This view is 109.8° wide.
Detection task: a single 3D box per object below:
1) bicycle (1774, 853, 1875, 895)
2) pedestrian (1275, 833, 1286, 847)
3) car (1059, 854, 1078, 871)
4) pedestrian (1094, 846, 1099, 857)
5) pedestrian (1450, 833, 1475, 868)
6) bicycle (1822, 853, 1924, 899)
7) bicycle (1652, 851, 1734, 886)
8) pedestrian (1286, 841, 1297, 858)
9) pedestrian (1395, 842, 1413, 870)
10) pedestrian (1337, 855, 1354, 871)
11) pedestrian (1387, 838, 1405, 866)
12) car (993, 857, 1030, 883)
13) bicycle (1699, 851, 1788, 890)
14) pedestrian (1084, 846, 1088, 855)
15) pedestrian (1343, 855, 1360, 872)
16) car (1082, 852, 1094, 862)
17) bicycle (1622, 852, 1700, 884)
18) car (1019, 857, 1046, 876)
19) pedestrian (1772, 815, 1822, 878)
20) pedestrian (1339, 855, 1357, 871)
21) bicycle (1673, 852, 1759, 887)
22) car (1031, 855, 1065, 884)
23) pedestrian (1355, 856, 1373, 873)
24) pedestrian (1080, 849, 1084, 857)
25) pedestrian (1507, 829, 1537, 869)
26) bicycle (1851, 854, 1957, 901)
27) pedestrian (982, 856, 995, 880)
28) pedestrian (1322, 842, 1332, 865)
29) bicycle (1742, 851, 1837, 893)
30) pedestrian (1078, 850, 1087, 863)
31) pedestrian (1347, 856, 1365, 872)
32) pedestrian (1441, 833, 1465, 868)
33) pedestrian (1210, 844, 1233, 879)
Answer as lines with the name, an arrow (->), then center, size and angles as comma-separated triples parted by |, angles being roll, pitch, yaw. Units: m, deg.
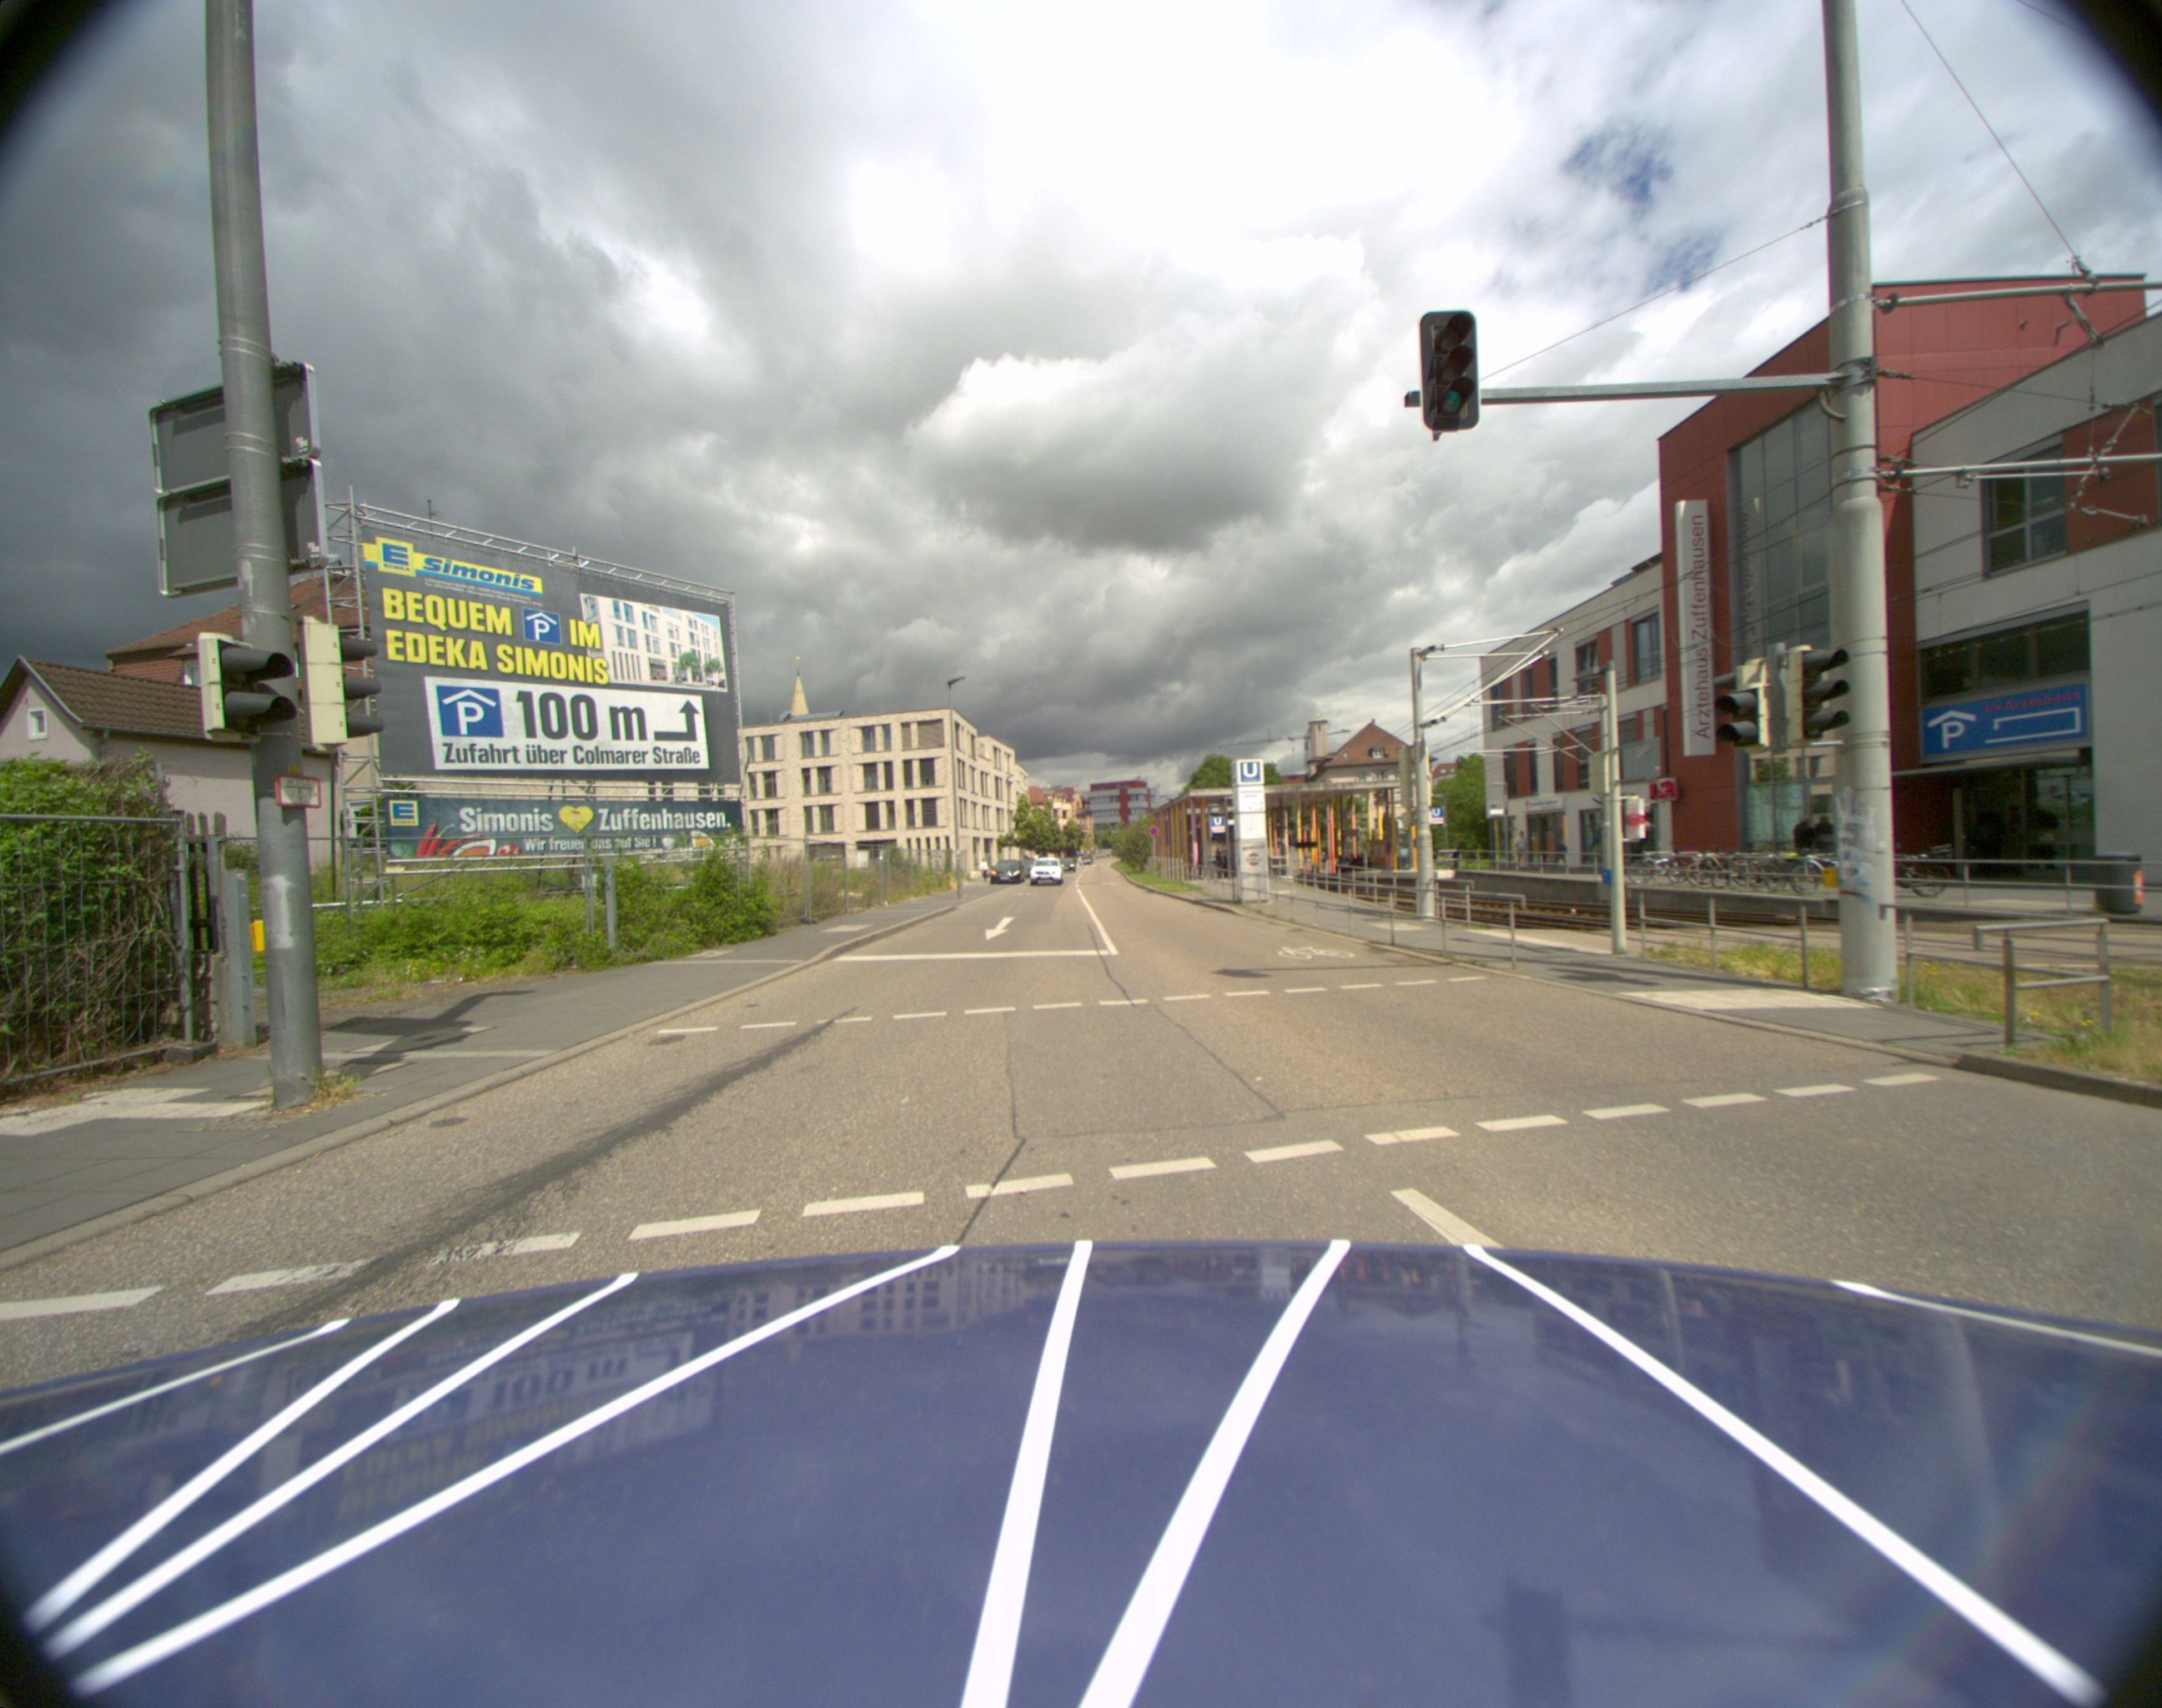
bicycle -> 17.636, 0.473, 18.041 | 1.862, 0.930, 0.454 | -2, 1, 3
pedestrian -> 29.663, -2.043, 112.977 | 1.451, 2.002, 1.968 | 0, 1, 19
car -> -1.165, 0.809, 72.302 | 1.678, 1.425, 3.794 | -2, 1, 0
pedestrian -> 2.894, -0.441, 144.341 | 0.800, 2.002, 0.810 | -1, 0, 2
pedestrian -> 21.339, -0.198, 42.517 | 0.864, 1.957, 1.105 | -1, 2, -1
bicycle -> 17.703, 0.493, 17.001 | 1.739, 0.952, 0.428 | -2, 1, 3
bicycle -> 17.582, 0.412, 21.854 | 1.861, 0.927, 0.455 | -2, 1, 9
pedestrian -> 25.175, -0.587, 90.841 | 1.127, 2.002, 1.179 | -1, 0, 6
pedestrian -> 23.240, 0.160, 54.664 | 0.863, 1.957, 1.106 | -1, 2, 6
pedestrian -> 19.254, 0.625, 55.397 | 0.943, 1.128, 0.886 | -2, 0, 2
pedestrian -> 22.660, -0.169, 54.643 | 0.863, 1.957, 1.106 | -1, 2, 6
car -> -4.169, 0.960, 46.113 | 1.677, 1.415, 3.794 | -1, 1, 3
bicycle -> 17.539, 0.433, 20.124 | 1.861, 0.934, 0.454 | -2, 1, 5
pedestrian -> 0.971, -0.643, 141.382 | 0.673, 1.503, 0.783 | -2, 0, 3
pedestrian -> 19.073, 0.672, 53.599 | 0.943, 1.128, 0.886 | -2, 0, 2
car -> 1.048, 0.433, 110.842 | 1.677, 1.299, 3.794 | -1, 1, 3
bicycle -> 17.523, 0.426, 22.981 | 1.861, 0.876, 0.455 | -2, 1, 9
car -> -3.816, 0.986, 59.957 | 1.677, 1.367, 3.795 | -2, 0, 3
pedestrian -> 22.001, -0.235, 23.342 | 0.881, 1.835, 0.862 | -4, 3, -27
pedestrian -> 19.169, 0.652, 54.590 | 0.943, 1.128, 0.886 | -2, 0, 2
bicycle -> 17.557, 0.427, 21.025 | 1.861, 0.917, 0.455 | -2, 1, 8
car -> -1.824, 0.850, 43.312 | 1.719, 1.541, 3.793 | -1, 0, 1
pedestrian -> 19.253, 0.704, 51.686 | 0.943, 1.128, 0.886 | -2, 0, 2
pedestrian -> 0.160, -0.157, 141.720 | 0.673, 1.503, 0.783 | -2, 0, 3
pedestrian -> 22.016, -0.256, 37.938 | 0.864, 1.957, 1.106 | -1, 2, 3
bicycle -> 17.715, 0.507, 16.368 | 1.739, 0.947, 0.428 | -2, 1, 3
pedestrian -> -6.116, 0.919, 50.175 | 0.673, 1.503, 0.782 | -2, 0, 1
pedestrian -> 22.301, -0.051, 68.842 | 0.617, 2.002, 0.775 | -1, 0, -6
bicycle -> 17.673, 0.442, 18.972 | 1.862, 0.957, 0.454 | -2, 1, 3
pedestrian -> 0.210, 0.337, 105.035 | 1.118, 1.744, 0.866 | -2, 0, -2
pedestrian -> 19.058, 0.690, 52.642 | 0.943, 1.128, 0.886 | -2, 0, 2
pedestrian -> 21.337, -0.203, 43.609 | 0.864, 1.957, 1.105 | -1, 2, -1
pedestrian -> 7.691, 0.399, 41.645 | 1.105, 1.903, 0.864 | -1, 2, 2
